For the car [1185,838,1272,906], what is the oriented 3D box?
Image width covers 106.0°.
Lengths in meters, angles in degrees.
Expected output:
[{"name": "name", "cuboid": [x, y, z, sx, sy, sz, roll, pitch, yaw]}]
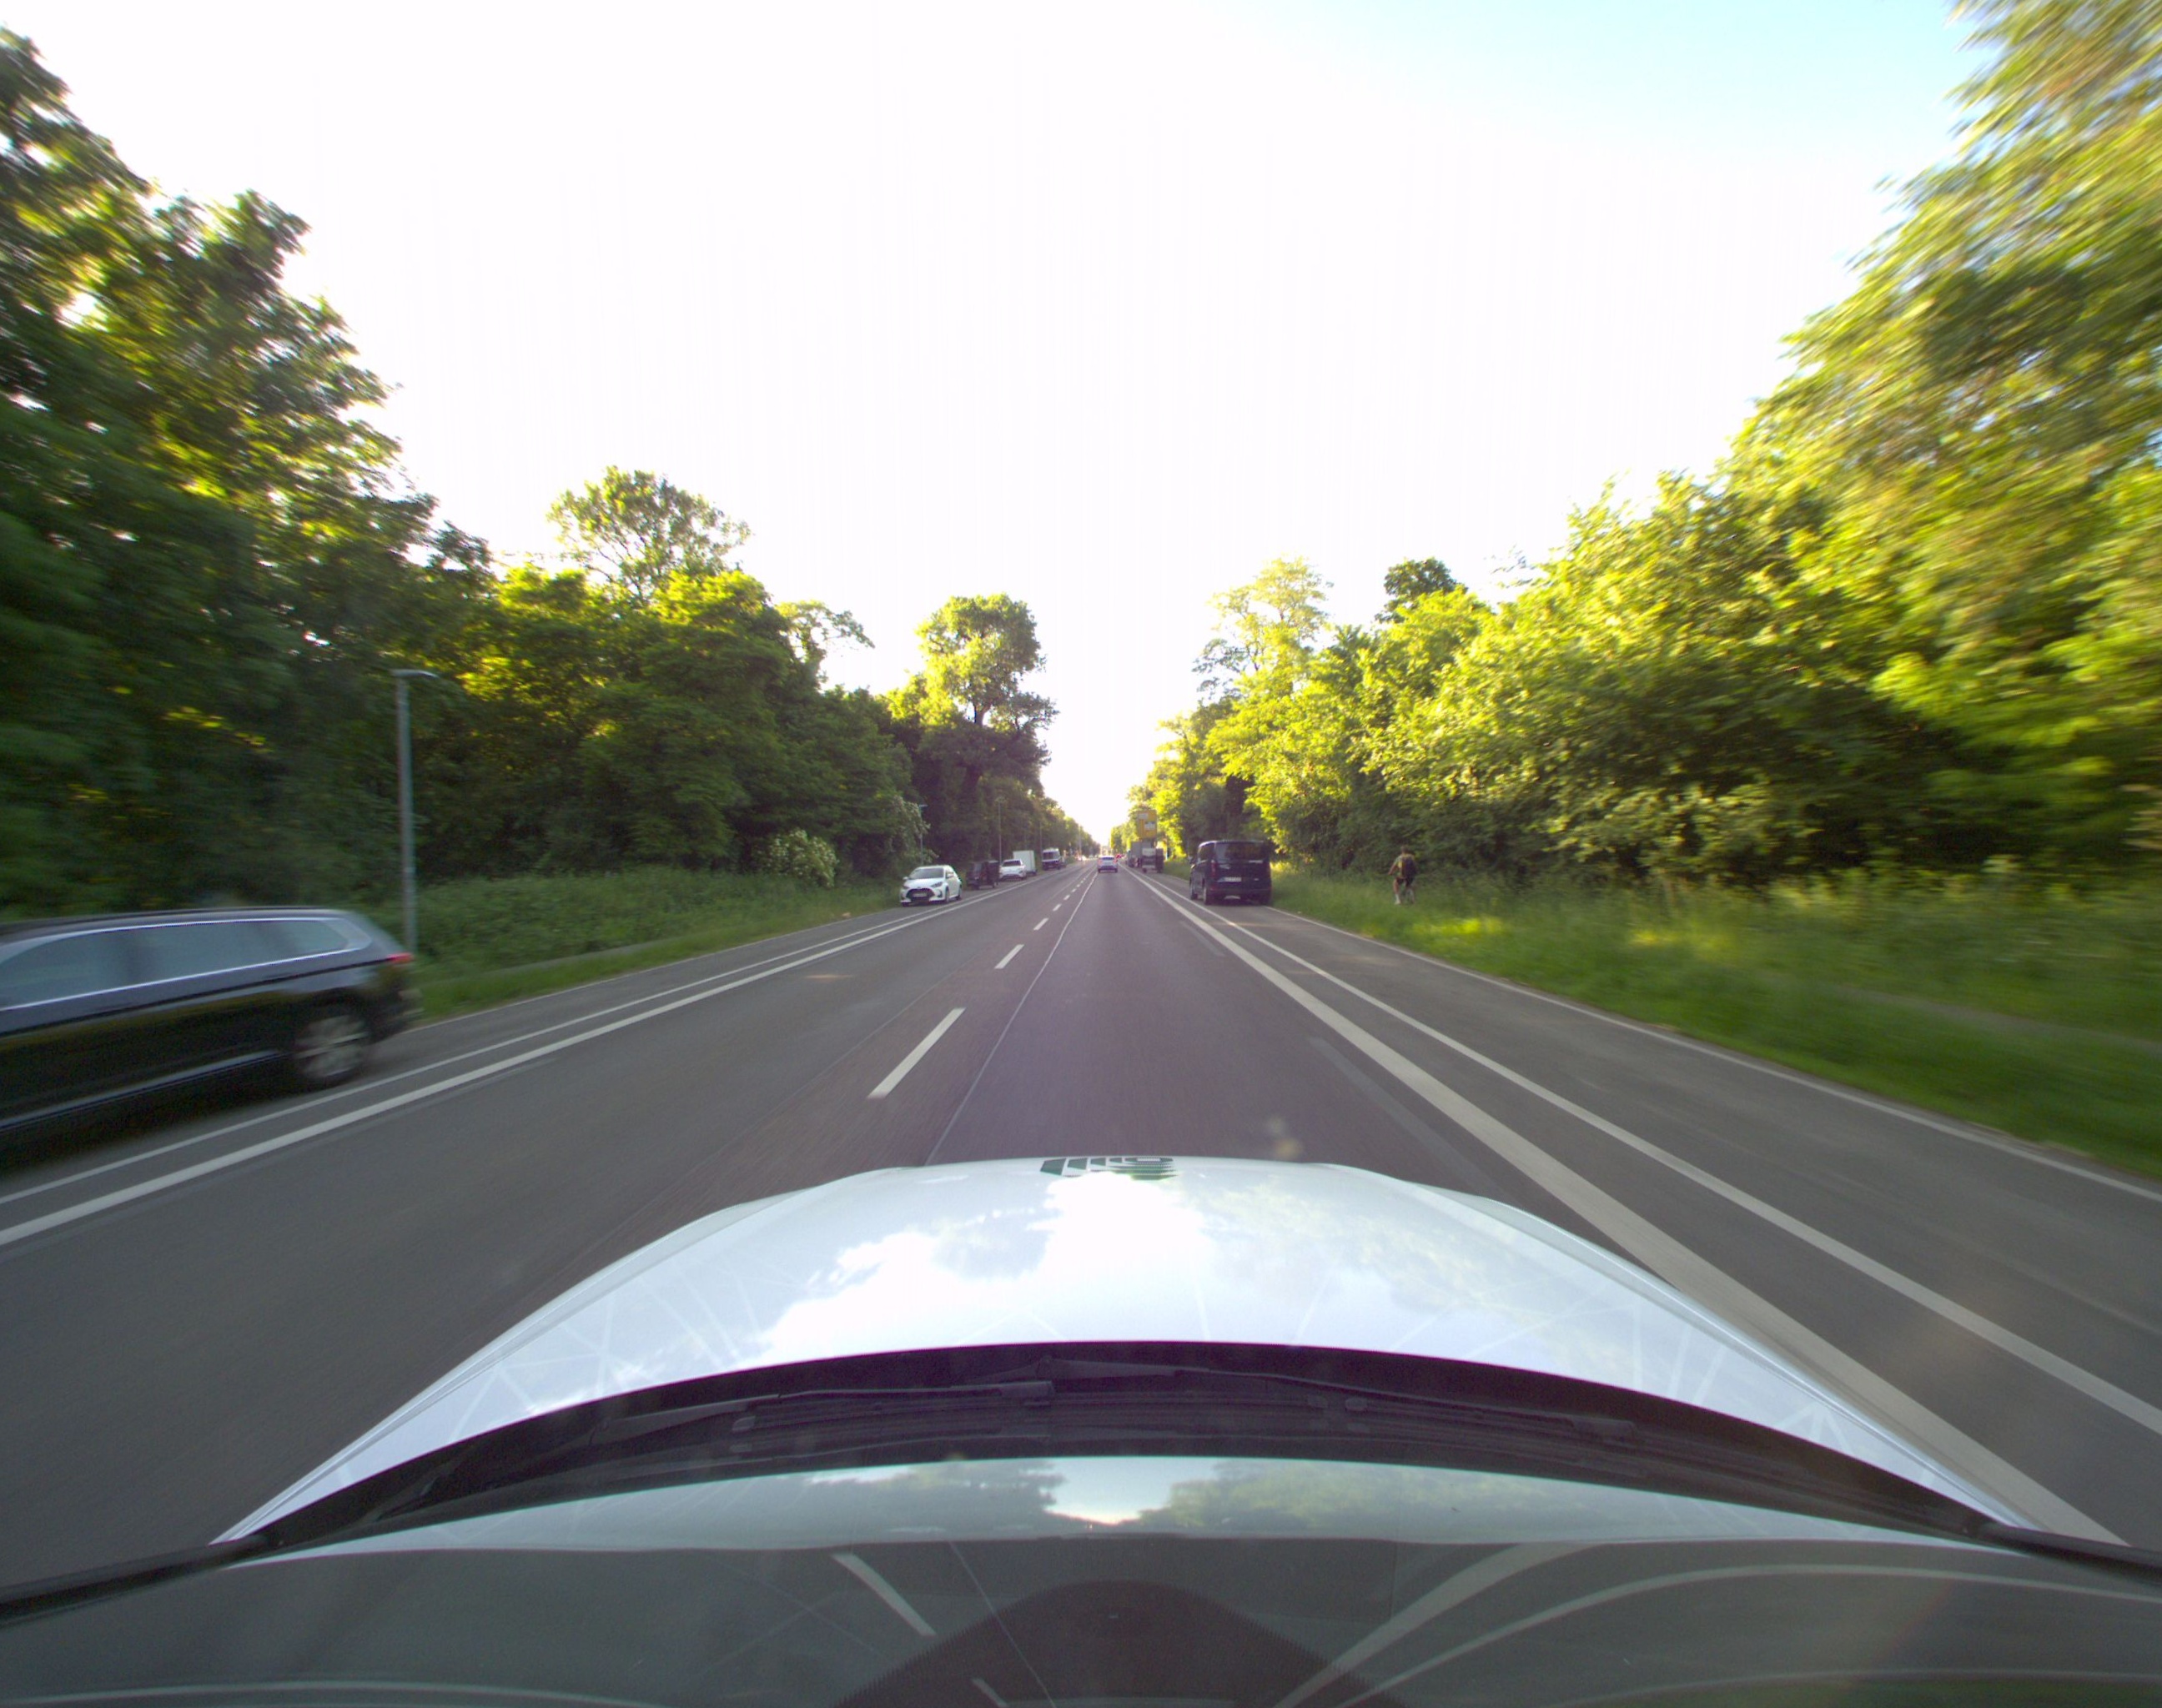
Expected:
[{"name": "car", "cuboid": [4.694, 0.549, 26.667, 2.105, 2.013, 5.042, 0, 0, 2]}]

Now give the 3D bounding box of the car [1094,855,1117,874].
[{"name": "car", "cuboid": [2.285, 0.932, 74.445, 1.986, 1.640, 4.002, -2, 0, 2]}]

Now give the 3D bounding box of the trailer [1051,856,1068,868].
[{"name": "trailer", "cuboid": [-3.042, 1.136, 117.332, 1.459, 1.659, 3.379, -4, -1, 14]}]

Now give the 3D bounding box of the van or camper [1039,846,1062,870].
[{"name": "van or camper", "cuboid": [-3.850, 0.536, 103.806, 2.293, 2.768, 5.559, -4, 0, 2]}]

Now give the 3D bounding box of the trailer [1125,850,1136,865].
[{"name": "trailer", "cuboid": [7.567, 0.550, 124.243, 1.494, 2.235, 4.552, 0, 0, 2]}]

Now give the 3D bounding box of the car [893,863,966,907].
[{"name": "car", "cuboid": [-5.839, 1.150, 31.879, 1.860, 1.450, 4.072, -4, 0, 2]}]

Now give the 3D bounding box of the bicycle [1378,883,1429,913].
[{"name": "bicycle", "cuboid": [8.411, 1.132, 21.296, 0.589, 0.692, 1.997, -1, 0, 2]}]

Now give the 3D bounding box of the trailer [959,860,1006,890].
[{"name": "trailer", "cuboid": [-5.409, 1.129, 44.950, 1.383, 1.574, 2.689, -2, 0, 22]}]

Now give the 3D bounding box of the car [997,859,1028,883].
[{"name": "car", "cuboid": [-4.990, 1.204, 59.638, 1.808, 1.571, 4.206, -4, 0, 0]}]

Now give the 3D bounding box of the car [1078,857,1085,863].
[{"name": "car", "cuboid": [0.182, 1.564, 221.539, 1.672, 1.415, 4.002, -2, 0, 2]}]

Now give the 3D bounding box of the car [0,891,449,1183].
[{"name": "car", "cuboid": [-6.840, 1.099, 5.125, 1.848, 1.464, 4.786, -2, 0, 2]}]

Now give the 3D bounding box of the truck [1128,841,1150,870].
[{"name": "truck", "cuboid": [7.097, 0.185, 100.709, 2.495, 3.366, 7.111, -1, -1, 2]}]

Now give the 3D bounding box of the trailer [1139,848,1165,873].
[{"name": "trailer", "cuboid": [6.176, 0.526, 70.848, 1.600, 2.112, 2.409, -1, 0, 22]}]

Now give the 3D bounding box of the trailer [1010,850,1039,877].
[{"name": "trailer", "cuboid": [-5.032, 0.843, 73.259, 2.066, 2.293, 3.490, -3, 0, 3]}]

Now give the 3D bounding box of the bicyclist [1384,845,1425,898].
[{"name": "bicyclist", "cuboid": [8.405, 0.436, 21.206, 0.608, 1.324, 1.176, -1, 0, 2]}]
